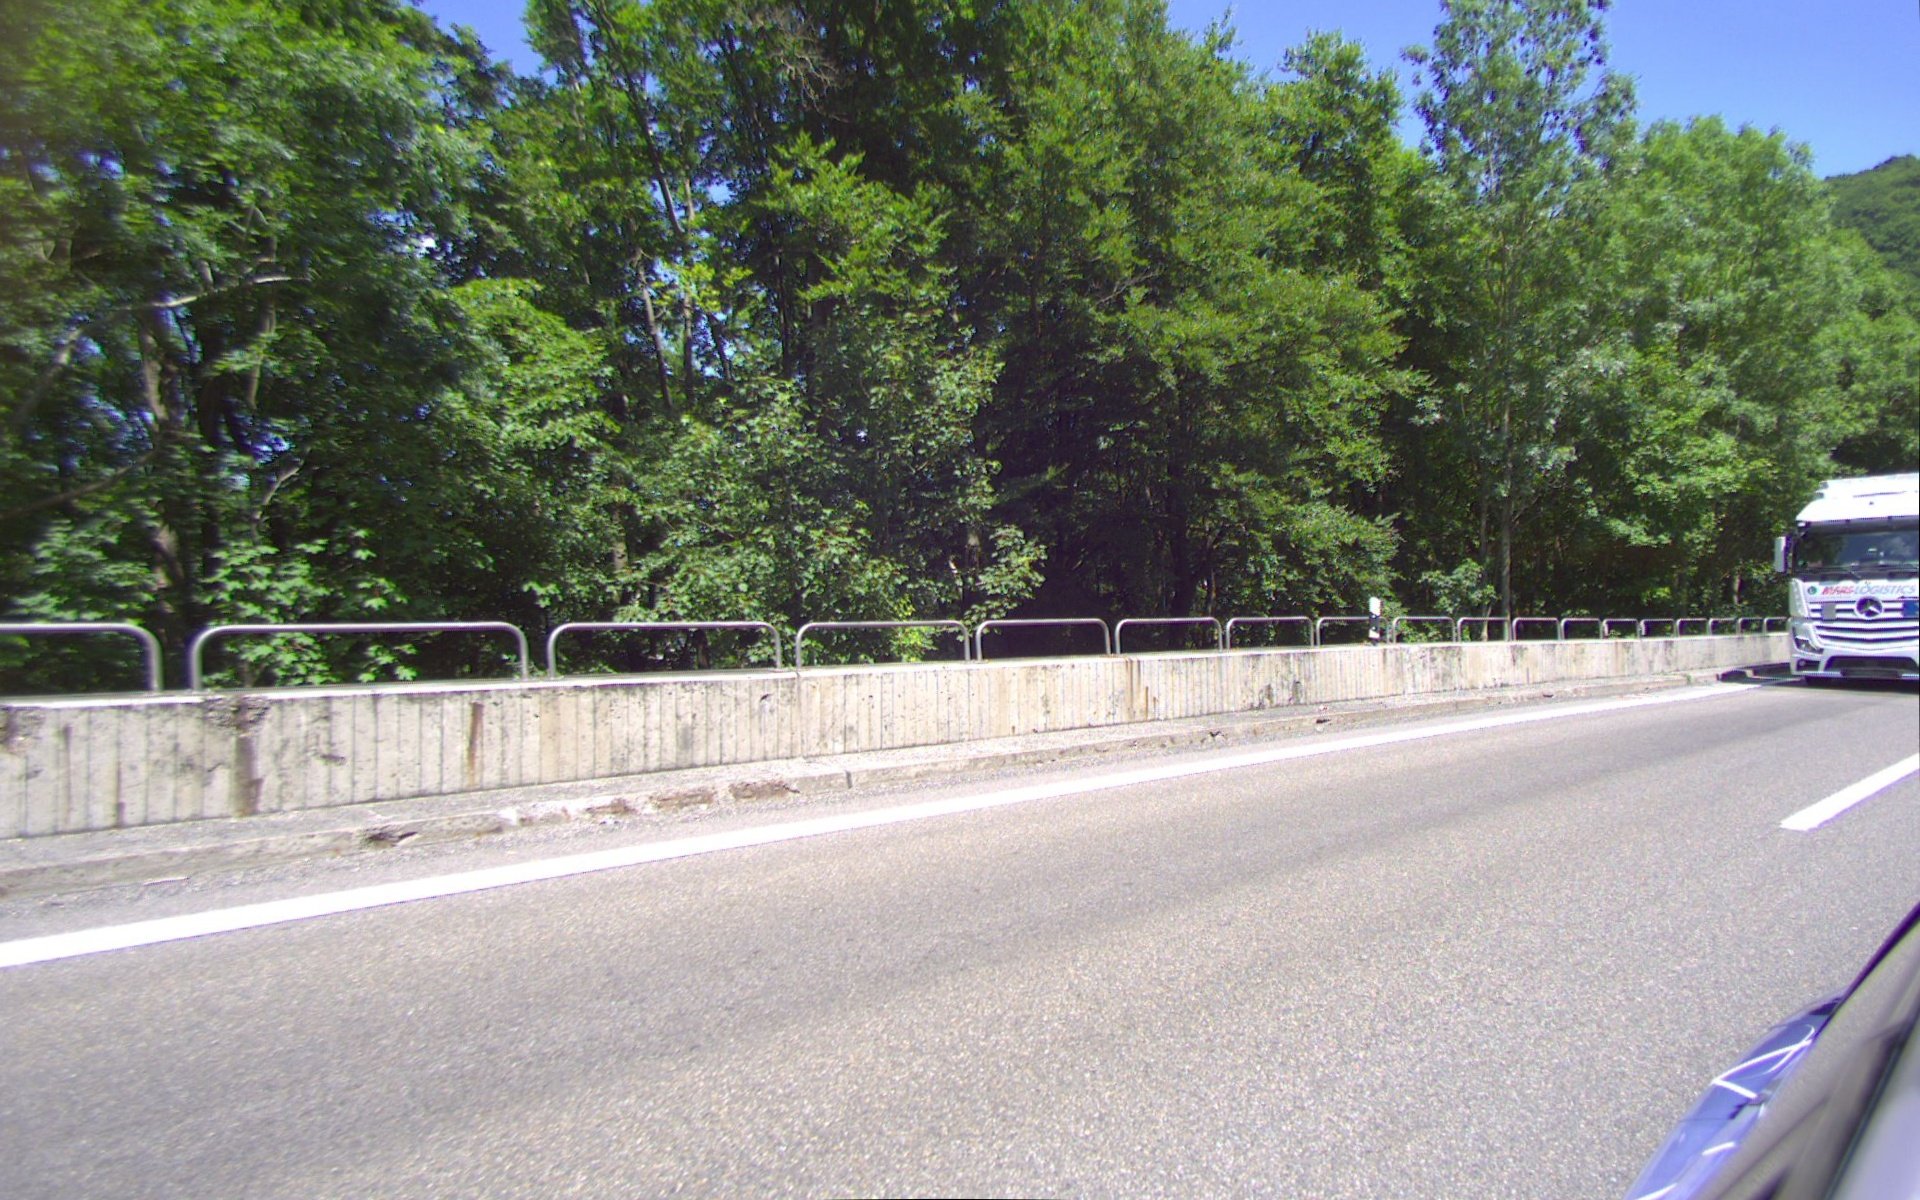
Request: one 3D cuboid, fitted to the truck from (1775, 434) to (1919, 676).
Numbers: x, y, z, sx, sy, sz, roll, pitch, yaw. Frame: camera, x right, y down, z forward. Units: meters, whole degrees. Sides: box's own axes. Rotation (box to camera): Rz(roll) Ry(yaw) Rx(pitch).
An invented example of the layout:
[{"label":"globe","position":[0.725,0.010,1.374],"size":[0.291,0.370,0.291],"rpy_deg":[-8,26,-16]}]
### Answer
[{"label":"truck","position":[22.823,-0.754,22.837],"size":[16.396,4.185,2.969],"rpy_deg":[0,0,-37]}]
